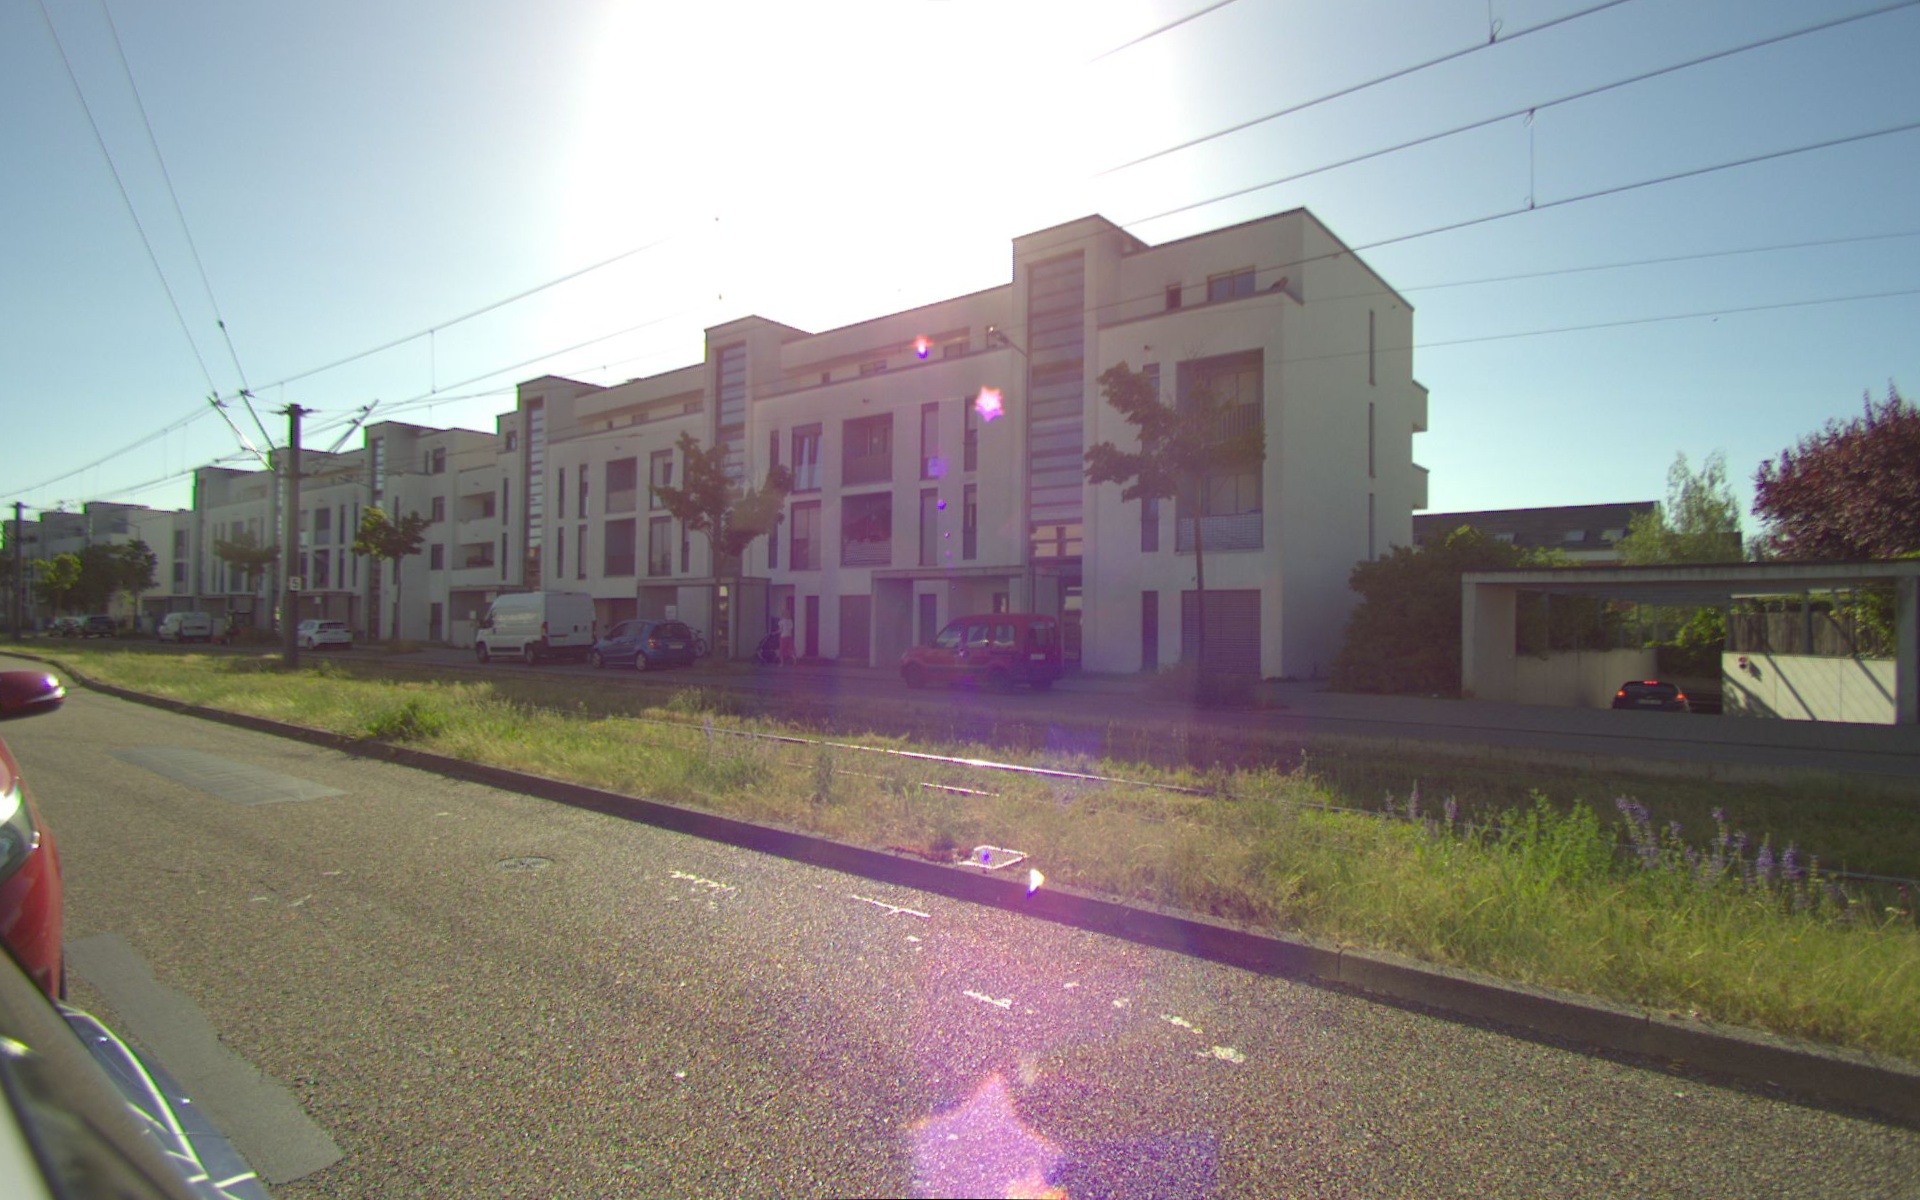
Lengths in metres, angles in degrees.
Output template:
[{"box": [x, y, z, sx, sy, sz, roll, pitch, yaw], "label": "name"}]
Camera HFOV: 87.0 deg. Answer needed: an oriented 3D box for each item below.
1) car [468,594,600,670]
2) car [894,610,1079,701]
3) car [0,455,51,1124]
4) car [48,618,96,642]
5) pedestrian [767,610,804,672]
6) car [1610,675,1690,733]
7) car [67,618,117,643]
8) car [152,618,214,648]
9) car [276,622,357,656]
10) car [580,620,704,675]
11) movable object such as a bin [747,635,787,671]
[{"box": [-15.185, 1.077, 35.944, 5.193, 2.491, 2.197, -1, 0, 40], "label": "car"}, {"box": [0.547, 1.170, 23.017, 3.895, 1.842, 1.972, -1, 0, 43], "label": "car"}, {"box": [-4.908, 0.557, 3.691, 4.505, 1.868, 1.850, -1, 0, 41], "label": "car"}, {"box": [-67.510, 2.261, 76.931, 4.277, 1.693, 1.900, -1, 0, 37], "label": "car"}, {"box": [-5.329, 1.239, 30.956, 0.785, 1.836, 0.766, -1, 0, 41], "label": "pedestrian"}, {"box": [18.315, 2.794, 26.813, 1.574, 1.337, 3.950, -1, -7, 37], "label": "car"}, {"box": [-62.966, 2.170, 73.407, 4.277, 1.693, 1.900, -1, 0, 37], "label": "car"}, {"box": [-47.344, 1.966, 61.625, 4.277, 1.693, 1.900, -1, 0, 37], "label": "car"}, {"box": [-31.125, 1.842, 48.899, 4.277, 1.517, 1.900, -1, 0, 37], "label": "car"}, {"box": [-9.991, 1.450, 31.739, 3.833, 1.556, 1.973, -1, 0, 40], "label": "car"}, {"box": [-6.023, 1.633, 31.587, 1.083, 1.062, 0.719, -1, 0, 42], "label": "movable object such as a bin"}]
